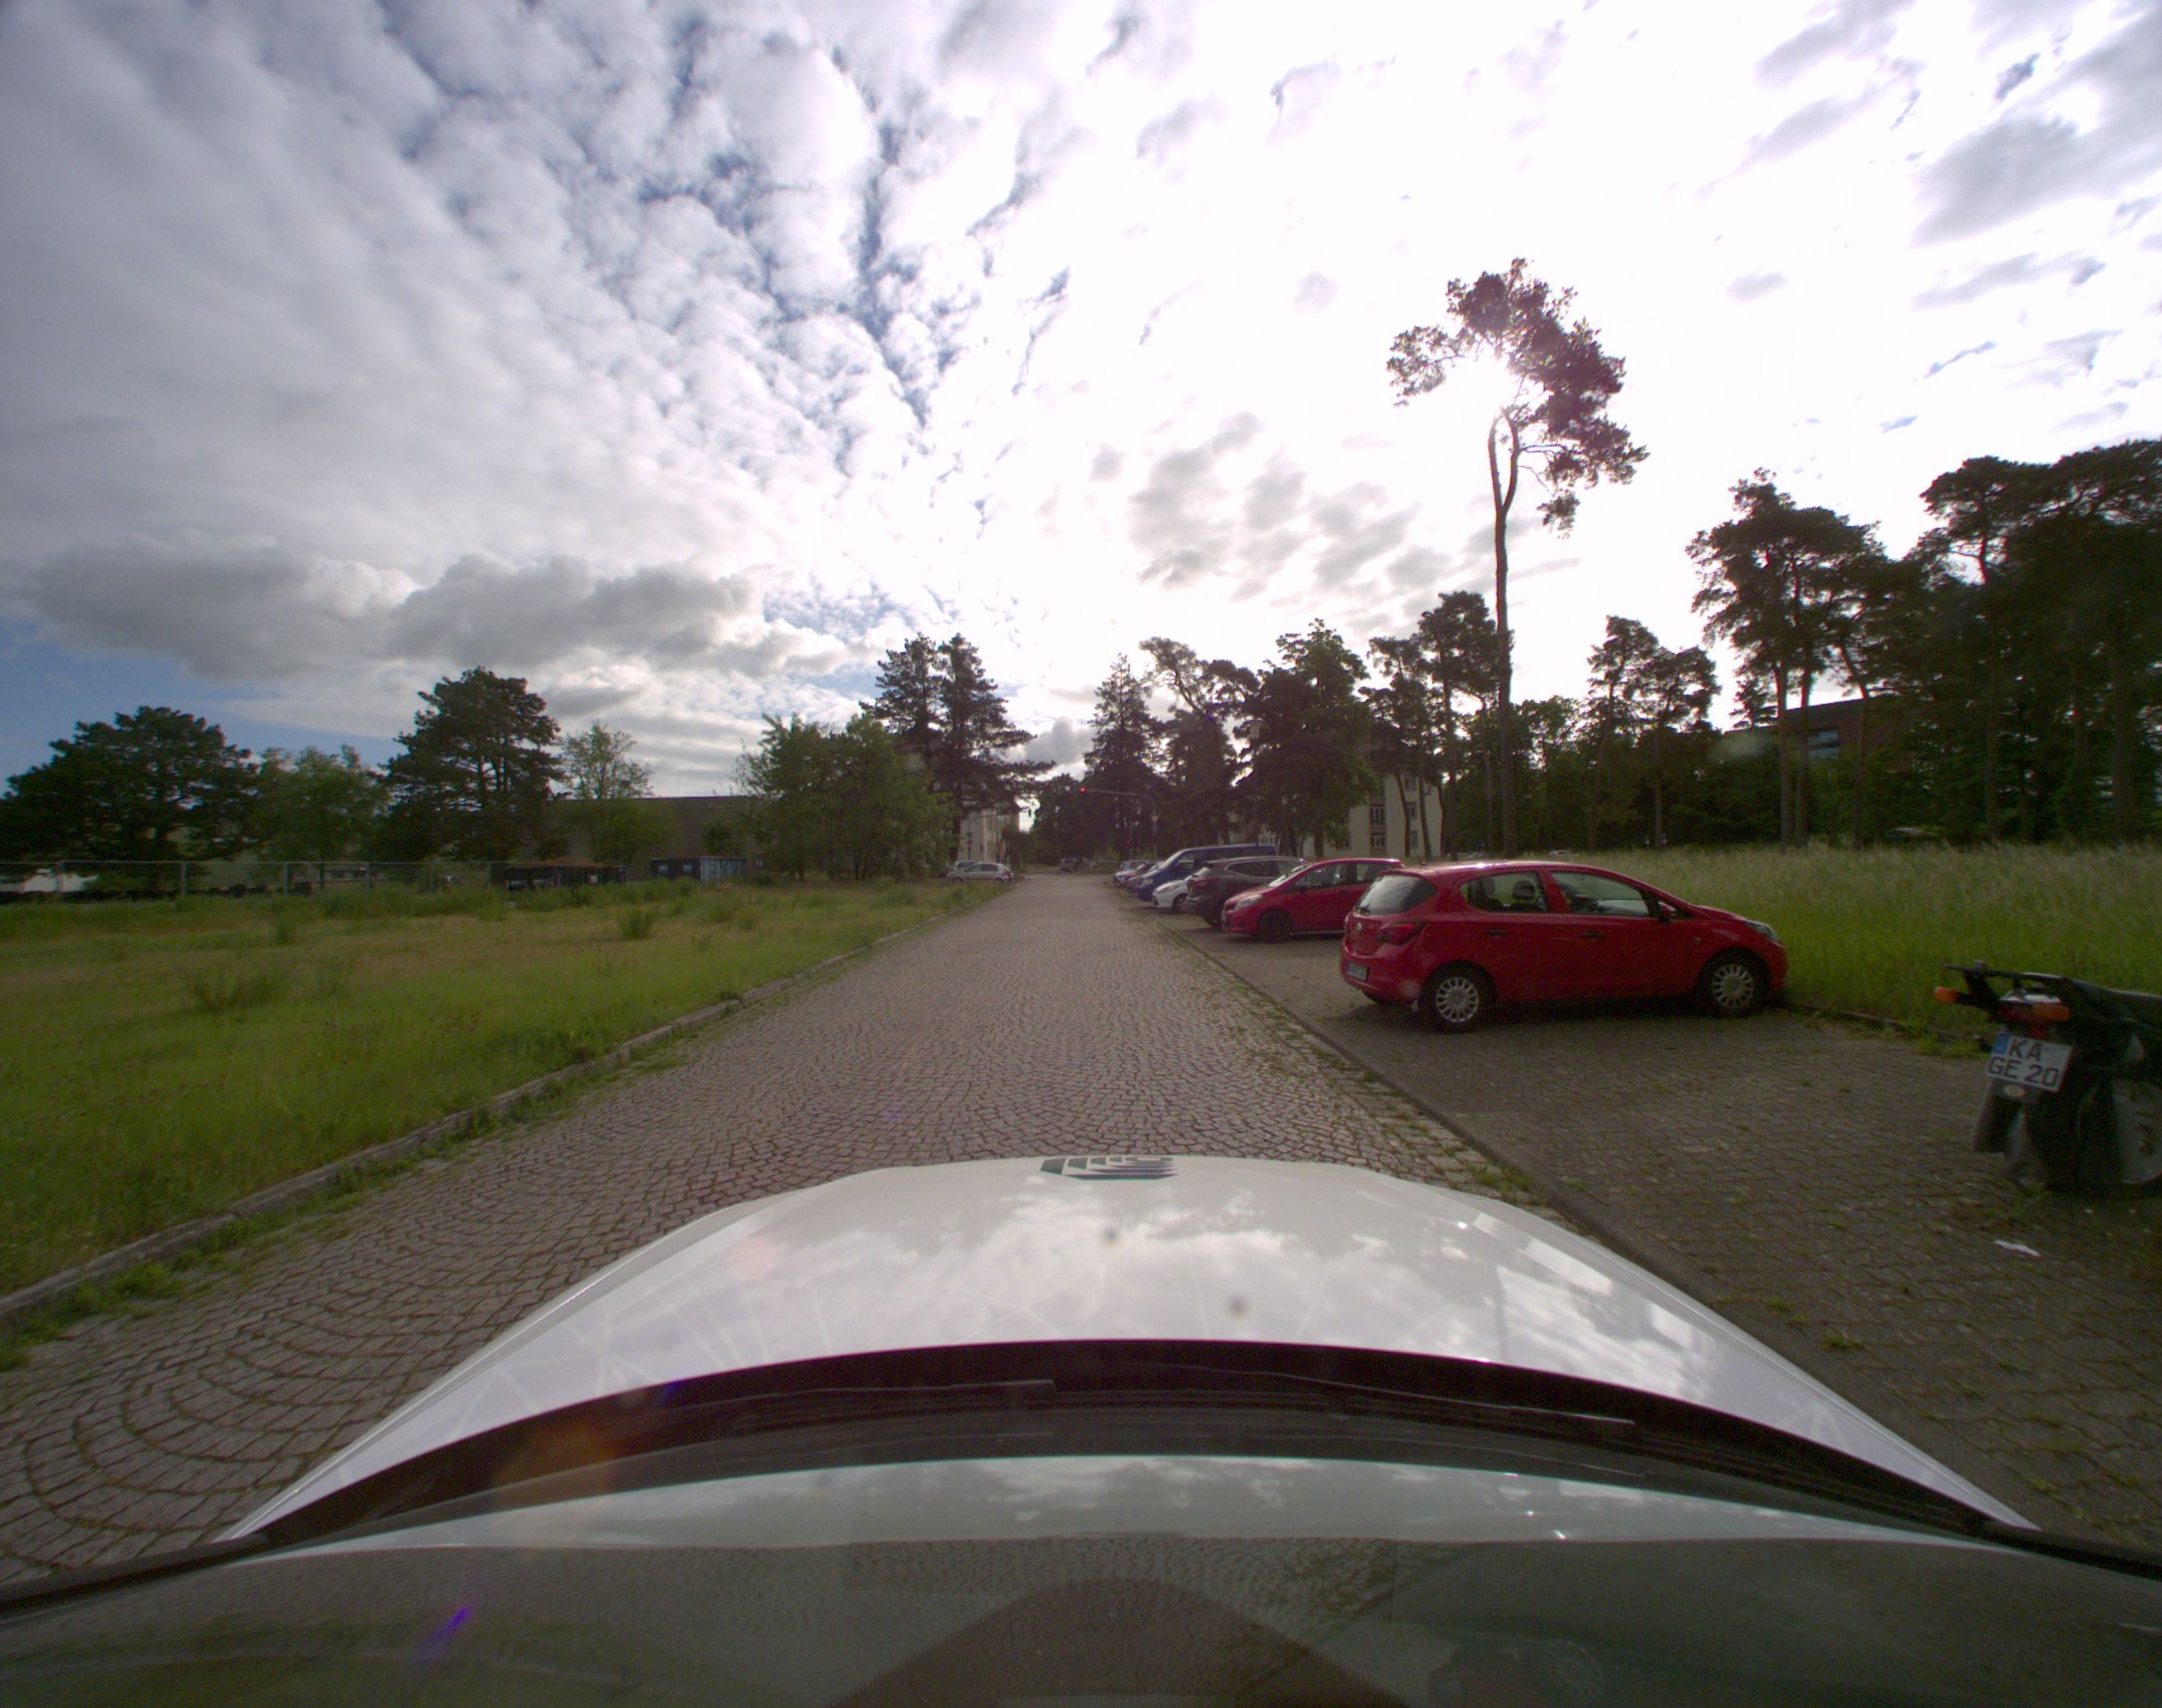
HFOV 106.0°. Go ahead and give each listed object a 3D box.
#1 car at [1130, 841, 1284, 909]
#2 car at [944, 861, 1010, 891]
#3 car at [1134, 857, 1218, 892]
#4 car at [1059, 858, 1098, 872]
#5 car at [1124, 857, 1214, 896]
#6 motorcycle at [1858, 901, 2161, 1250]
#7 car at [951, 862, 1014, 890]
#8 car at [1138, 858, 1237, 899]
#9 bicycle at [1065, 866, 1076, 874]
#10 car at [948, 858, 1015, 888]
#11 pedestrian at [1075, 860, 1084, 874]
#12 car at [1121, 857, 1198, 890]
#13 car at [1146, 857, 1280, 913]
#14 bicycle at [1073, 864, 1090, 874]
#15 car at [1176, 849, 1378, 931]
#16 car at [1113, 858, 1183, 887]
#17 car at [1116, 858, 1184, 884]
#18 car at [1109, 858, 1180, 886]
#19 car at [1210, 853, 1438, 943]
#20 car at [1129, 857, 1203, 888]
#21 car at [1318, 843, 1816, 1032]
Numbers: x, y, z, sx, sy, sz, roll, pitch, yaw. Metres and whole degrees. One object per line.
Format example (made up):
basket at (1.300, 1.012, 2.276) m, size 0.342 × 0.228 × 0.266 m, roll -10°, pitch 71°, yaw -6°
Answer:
car at (4.137, 0.682, 27.197) m, size 4.743 × 1.954 × 1.929 m, roll -3°, pitch -1°, yaw -3°
car at (-6.288, 1.330, 49.667) m, size 3.815 × 1.572 × 1.562 m, roll -3°, pitch -1°, yaw -5°
car at (4.425, 0.959, 38.244) m, size 3.663 × 1.449 × 1.522 m, roll -3°, pitch -1°, yaw -3°
car at (-0.398, 1.554, 117.701) m, size 5.446 × 2.014 × 2.261 m, roll 0°, pitch -1°, yaw -10°
car at (3.762, 0.962, 35.241) m, size 3.663 × 1.449 × 1.522 m, roll -3°, pitch -1°, yaw -3°
motorcycle at (4.839, 0.831, 3.494) m, size 2.322 × 1.186 × 0.794 m, roll -2°, pitch -1°, yaw -4°
car at (-6.274, 1.391, 52.083) m, size 3.811 × 1.572 × 1.563 m, roll -3°, pitch -1°, yaw -2°
car at (4.218, 0.957, 32.473) m, size 3.663 × 1.449 × 1.522 m, roll -3°, pitch -1°, yaw -3°
bicycle at (-1.204, 1.854, 95.702) m, size 0.623 × 0.945 × 1.648 m, roll 0°, pitch -1°, yaw -28°
car at (-6.661, 1.268, 55.063) m, size 4.251 × 1.840 × 1.742 m, roll -3°, pitch -1°, yaw -2°
pedestrian at (-0.158, 1.586, 100.141) m, size 1.032 × 1.614 × 0.756 m, roll 0°, pitch -1°, yaw -6°
car at (3.915, 0.975, 40.938) m, size 3.663 × 1.449 × 1.522 m, roll -3°, pitch -1°, yaw -3°
car at (3.929, 0.914, 24.596) m, size 3.664 × 1.449 × 1.612 m, roll -3°, pitch -1°, yaw -4°
bicycle at (0.049, 1.785, 99.801) m, size 2.133 × 1.215 × 0.621 m, roll 0°, pitch -1°, yaw -6°
car at (4.304, 0.778, 18.231) m, size 4.020 × 1.552 × 1.749 m, roll -3°, pitch -1°, yaw -4°
car at (3.709, 1.028, 45.469) m, size 3.666 × 1.421 × 1.521 m, roll -3°, pitch -1°, yaw -6°
car at (4.299, 1.054, 50.988) m, size 3.962 × 1.421 × 1.617 m, roll -3°, pitch -1°, yaw -6°
car at (3.761, 1.059, 48.325) m, size 3.962 × 1.421 × 1.617 m, roll -3°, pitch -1°, yaw -6°
car at (4.537, 0.807, 15.585) m, size 3.781 × 1.460 × 1.750 m, roll -3°, pitch -1°, yaw -1°
car at (4.476, 0.990, 43.235) m, size 3.663 × 1.449 × 1.522 m, roll -3°, pitch -1°, yaw -3°
car at (4.519, 0.733, 7.997) m, size 3.815 × 1.460 × 1.778 m, roll -3°, pitch -1°, yaw -2°
